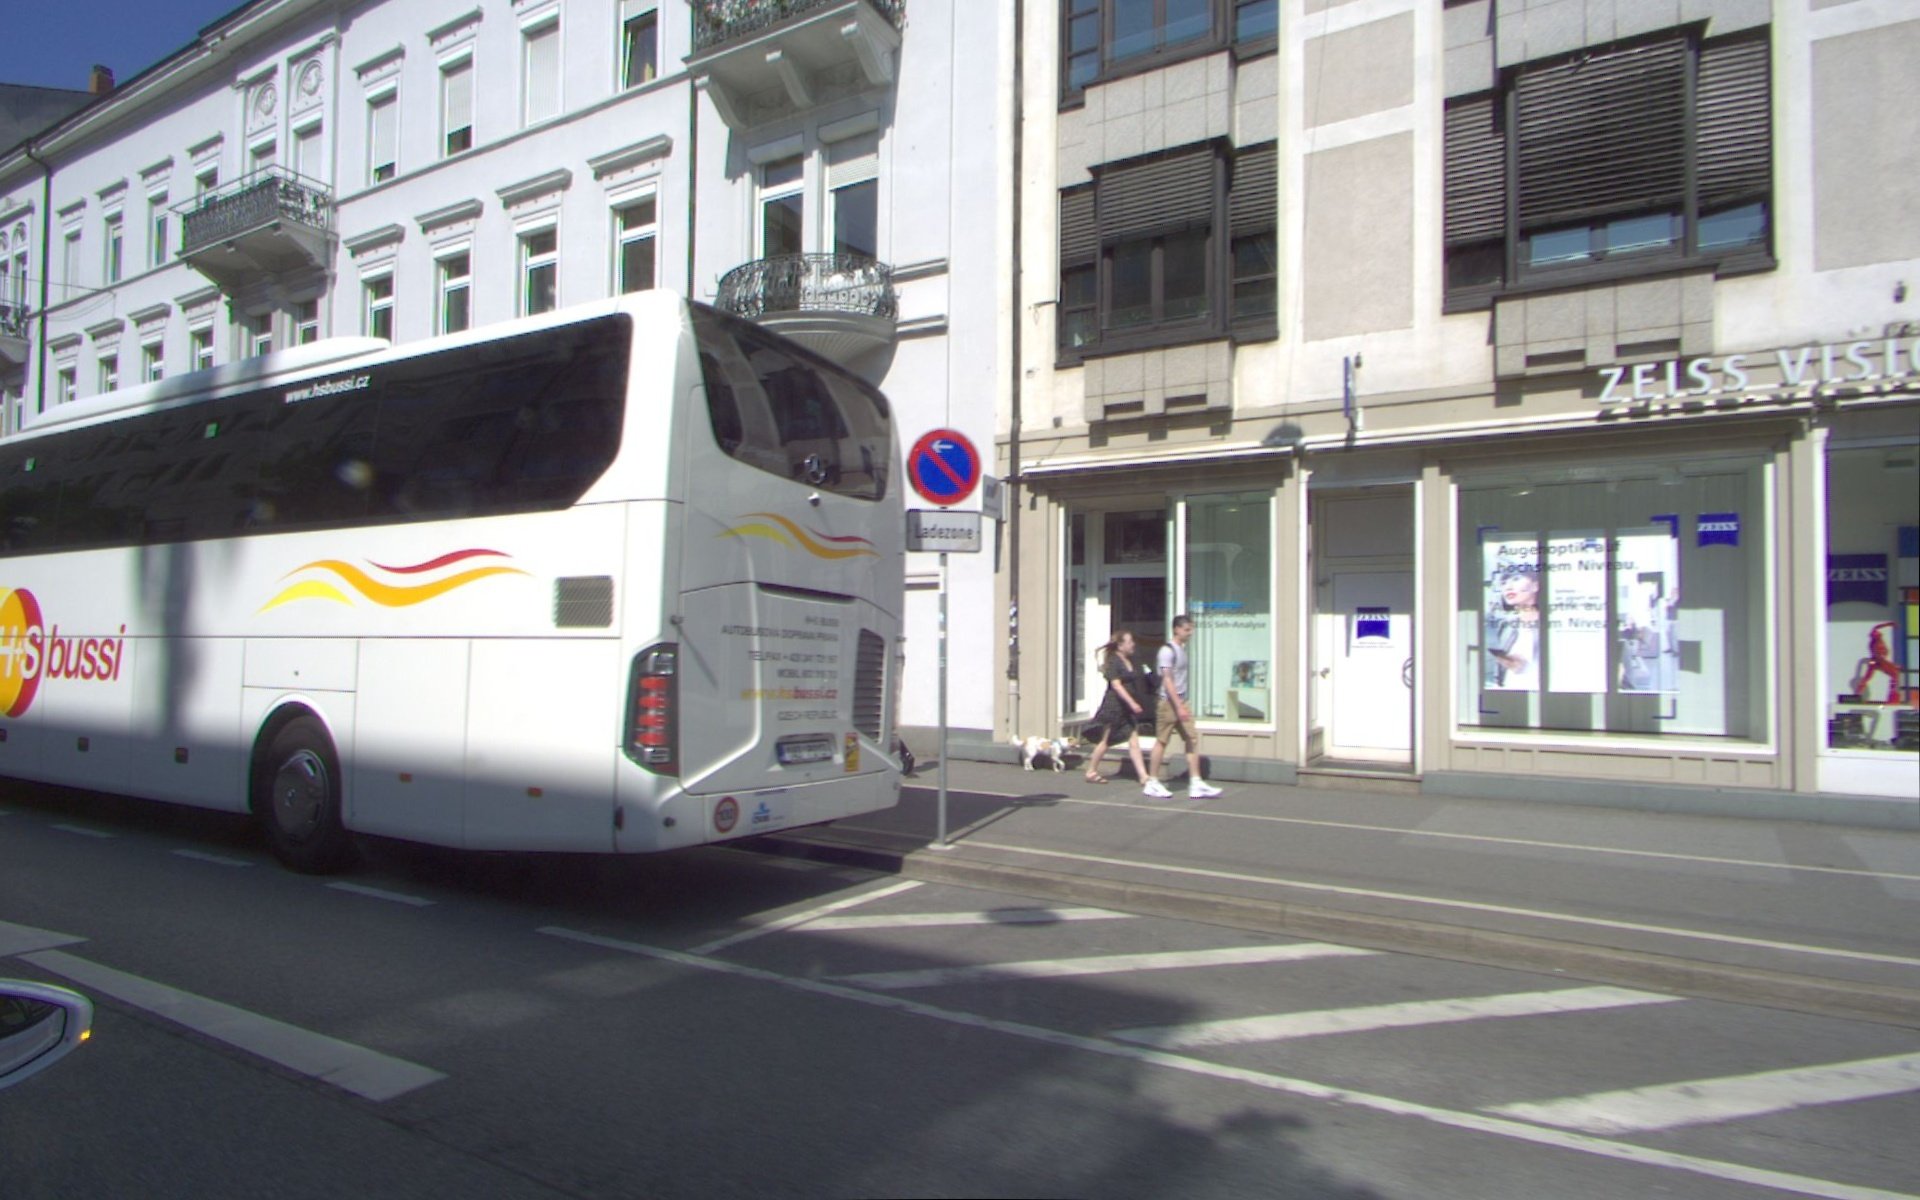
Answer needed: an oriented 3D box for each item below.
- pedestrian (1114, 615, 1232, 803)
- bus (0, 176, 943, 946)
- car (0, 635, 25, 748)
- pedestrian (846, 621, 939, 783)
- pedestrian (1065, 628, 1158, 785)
[{"bbox_3d":[2.146,1.072,10.107,1.005,1.800,0.572,-2,-3,32],"label":"pedestrian"},{"bbox_3d":[-6.227,-0.055,9.099,12.234,3.786,2.883,-1,-4,28],"label":"bus"},{"bbox_3d":[-15.252,1.178,13.902,5.147,1.487,1.859,-1,-4,30],"label":"car"},{"bbox_3d":[-0.759,1.125,11.313,0.823,1.741,0.619,-1,-2,32],"label":"pedestrian"},{"bbox_3d":[1.662,1.145,10.982,0.810,1.637,0.644,-2,-3,32],"label":"pedestrian"}]
